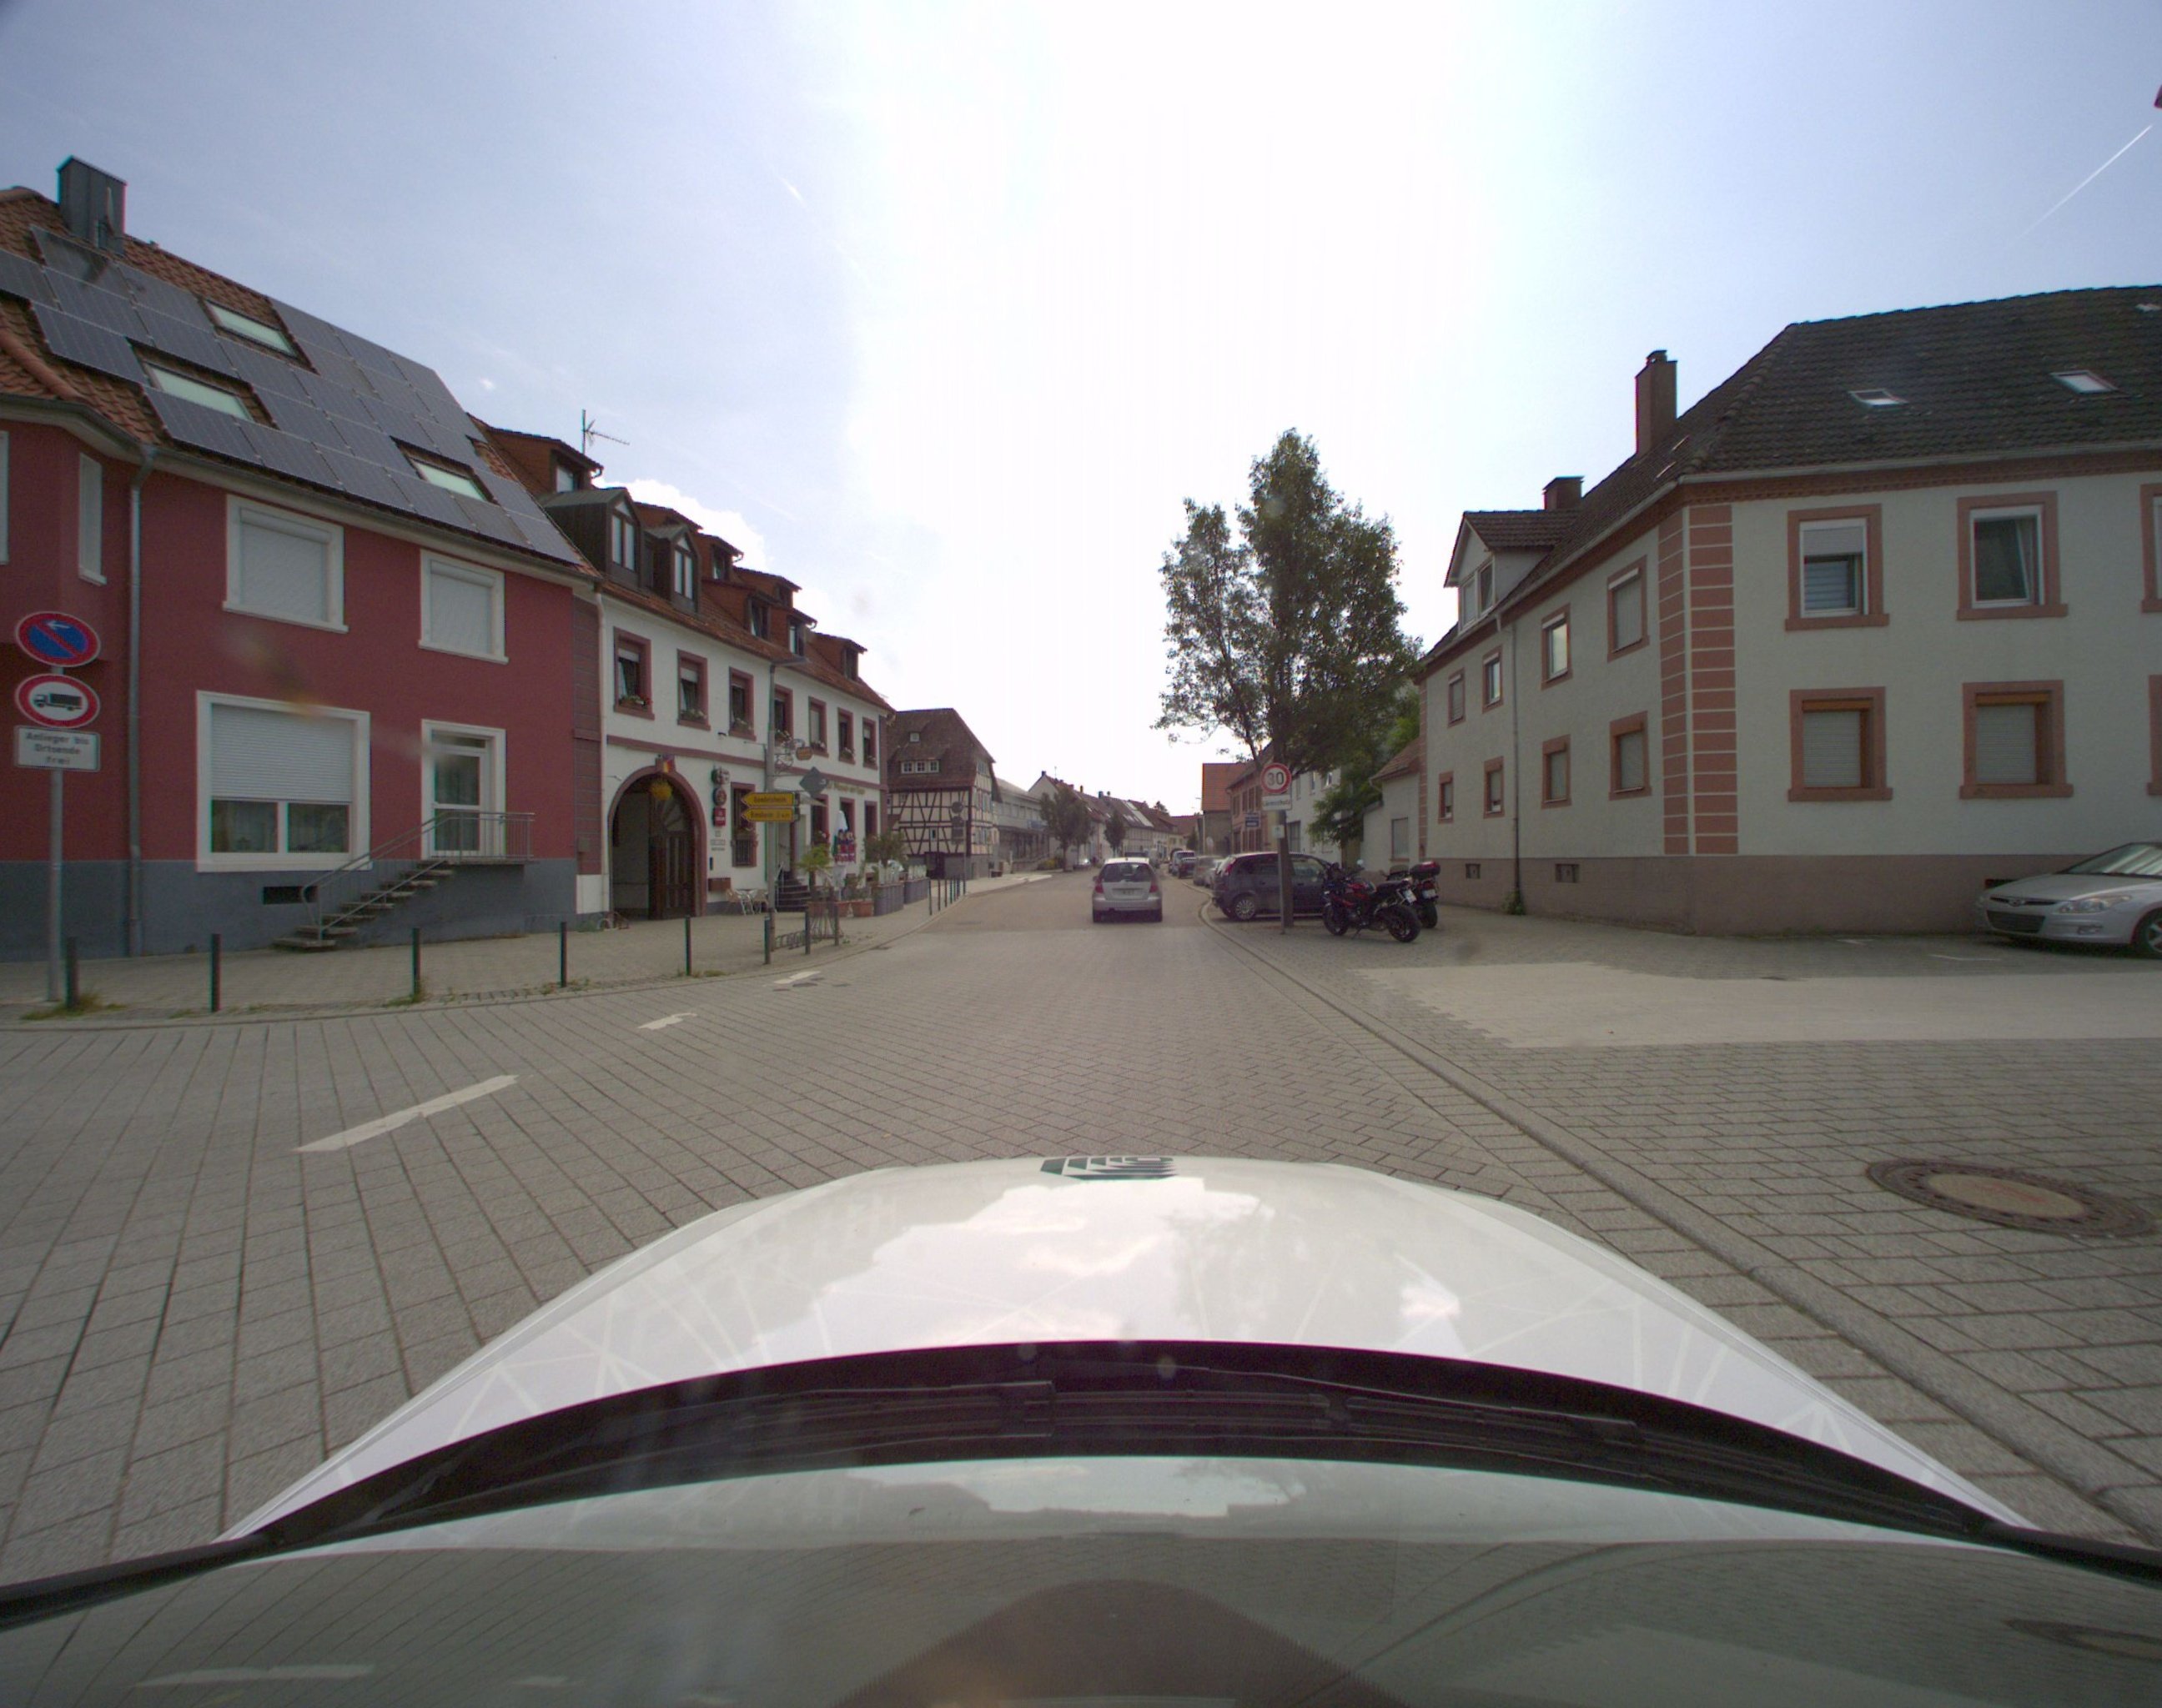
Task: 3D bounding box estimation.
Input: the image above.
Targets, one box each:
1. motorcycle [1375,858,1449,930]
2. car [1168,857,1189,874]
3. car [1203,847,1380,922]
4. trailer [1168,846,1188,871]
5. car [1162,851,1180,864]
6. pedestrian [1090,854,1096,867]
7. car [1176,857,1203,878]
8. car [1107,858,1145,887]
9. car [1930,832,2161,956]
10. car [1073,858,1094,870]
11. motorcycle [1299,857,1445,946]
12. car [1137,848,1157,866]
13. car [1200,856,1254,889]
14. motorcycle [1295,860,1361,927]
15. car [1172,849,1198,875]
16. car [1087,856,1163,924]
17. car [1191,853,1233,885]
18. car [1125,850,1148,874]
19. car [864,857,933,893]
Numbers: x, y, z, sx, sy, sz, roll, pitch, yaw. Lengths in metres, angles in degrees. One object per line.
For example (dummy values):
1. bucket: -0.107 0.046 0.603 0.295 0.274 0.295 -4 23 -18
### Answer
1. motorcycle: 6.585 0.763 16.342 0.953 1.298 2.233 -3 -1 12
2. car: 9.192 1.071 77.001 1.866 1.481 4.680 0 0 5
3. car: 5.048 0.711 19.919 3.835 1.577 1.851 -2 -1 0
4. trailer: 9.765 0.450 82.057 1.837 2.354 3.593 -1 0 4
5. car: 11.129 0.448 101.025 1.985 1.559 4.004 -2 0 4
6. pedestrian: 1.584 0.871 111.011 0.735 1.801 0.643 -2 -1 6
7. car: 7.873 0.964 59.416 1.766 1.495 4.167 -1 0 5
8. car: 2.442 0.963 43.446 1.936 1.407 4.004 -1 0 4
9. car: 14.018 0.462 10.483 3.969 1.473 1.830 -1 0 9
10. car: 0.344 1.158 95.472 1.793 1.460 4.169 0 0 10
11. motorcycle: 4.966 0.773 14.035 0.877 1.395 2.198 -1 -1 -43
12. car: 8.354 0.386 103.284 2.224 2.222 4.008 -2 -1 7
13. car: 7.268 0.879 40.955 1.987 1.517 4.371 -1 0 1
14. motorcycle: 5.205 0.801 17.300 0.627 1.298 2.181 -2 -1 -2
15. car: 8.556 0.666 67.353 1.883 1.982 4.937 -3 0 5
16. car: 1.187 0.883 21.631 1.761 1.594 4.004 -2 -1 3
17. car: 7.334 0.795 46.016 1.984 1.680 4.328 -1 0 5
18. car: 4.663 0.661 68.128 1.760 1.888 4.454 2 -1 6
19. car: -8.606 0.947 38.760 1.749 1.492 4.284 3 0 7
